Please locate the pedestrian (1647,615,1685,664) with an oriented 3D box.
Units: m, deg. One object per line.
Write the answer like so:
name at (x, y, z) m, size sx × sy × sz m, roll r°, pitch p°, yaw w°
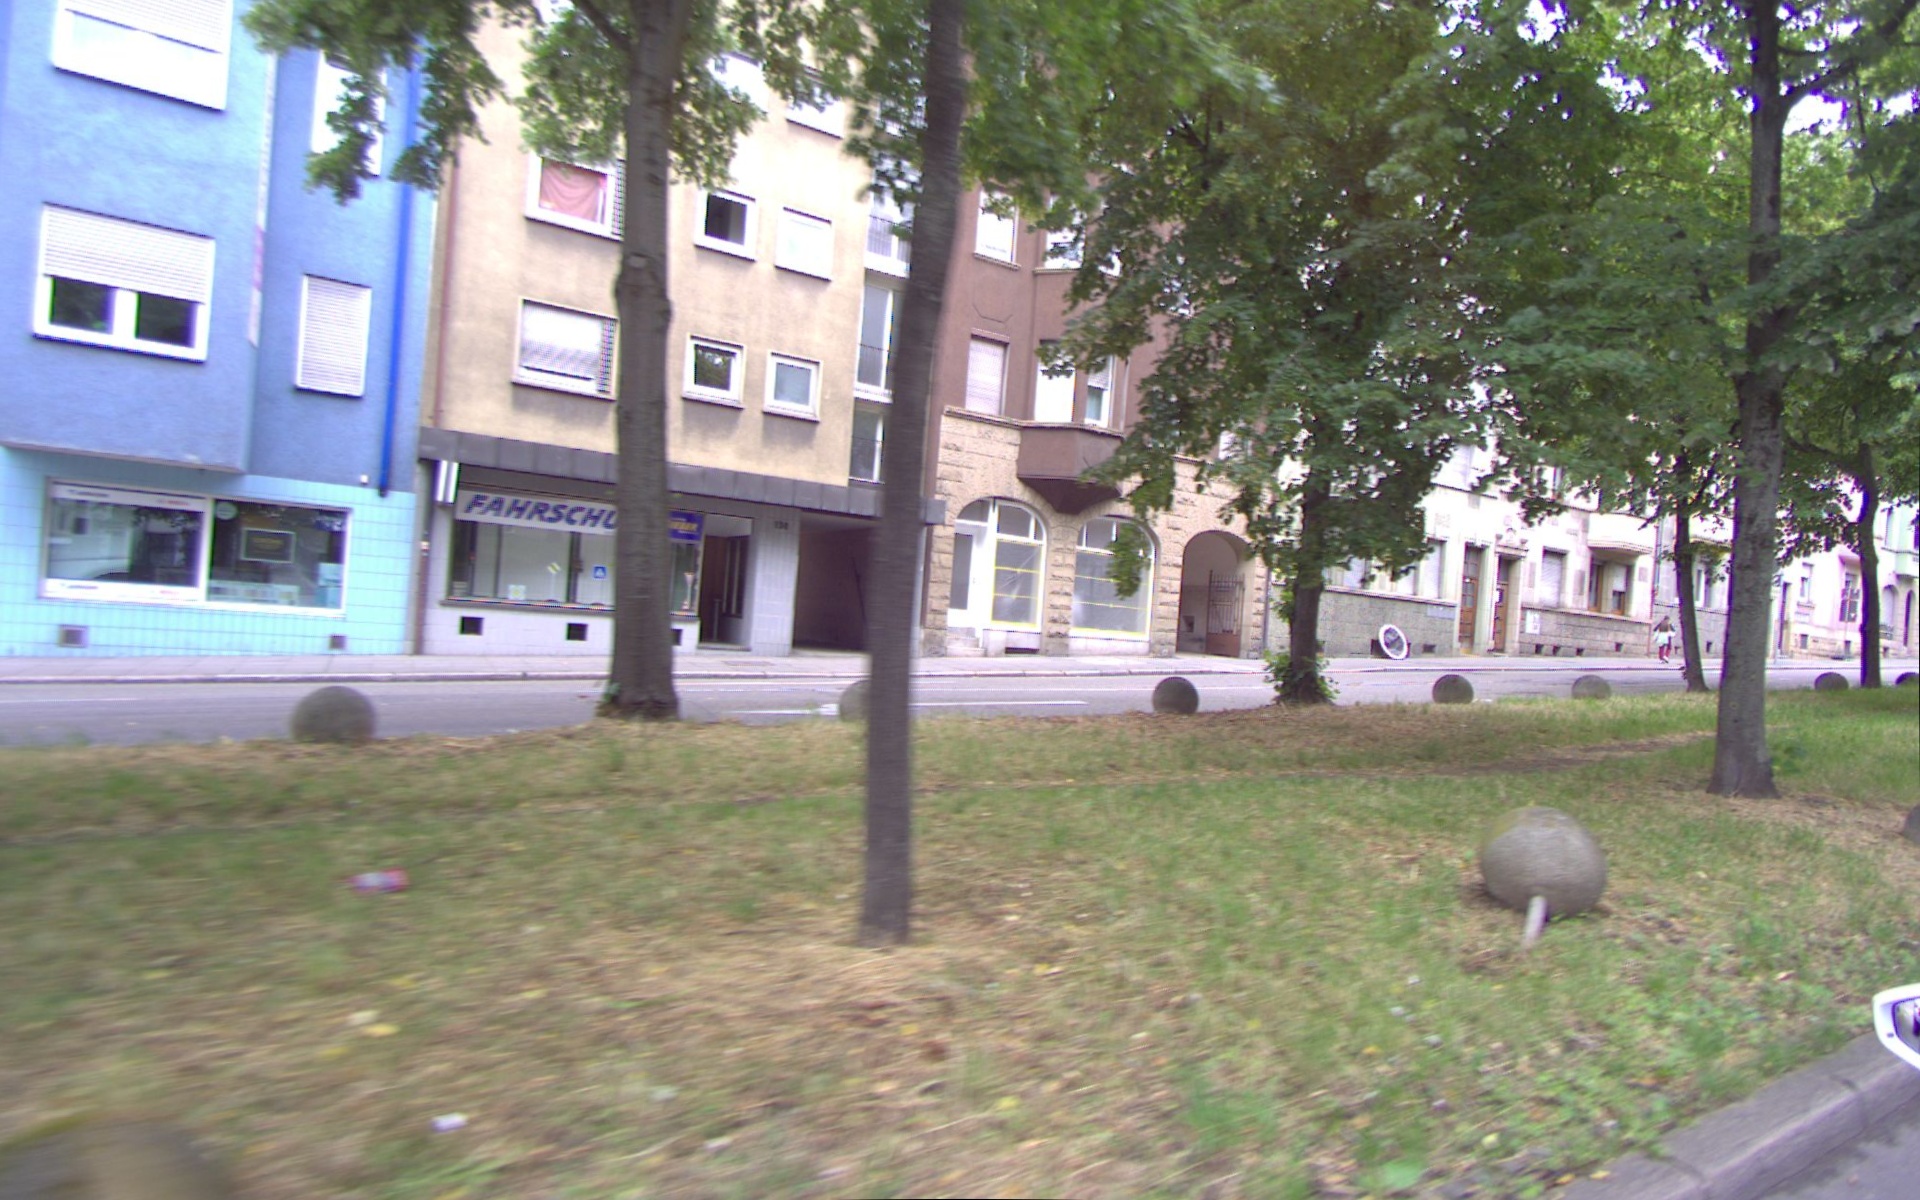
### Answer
pedestrian at (22.499, 1.251, 32.010) m, size 0.695 × 1.480 × 0.695 m, roll 1°, pitch 2°, yaw -29°
